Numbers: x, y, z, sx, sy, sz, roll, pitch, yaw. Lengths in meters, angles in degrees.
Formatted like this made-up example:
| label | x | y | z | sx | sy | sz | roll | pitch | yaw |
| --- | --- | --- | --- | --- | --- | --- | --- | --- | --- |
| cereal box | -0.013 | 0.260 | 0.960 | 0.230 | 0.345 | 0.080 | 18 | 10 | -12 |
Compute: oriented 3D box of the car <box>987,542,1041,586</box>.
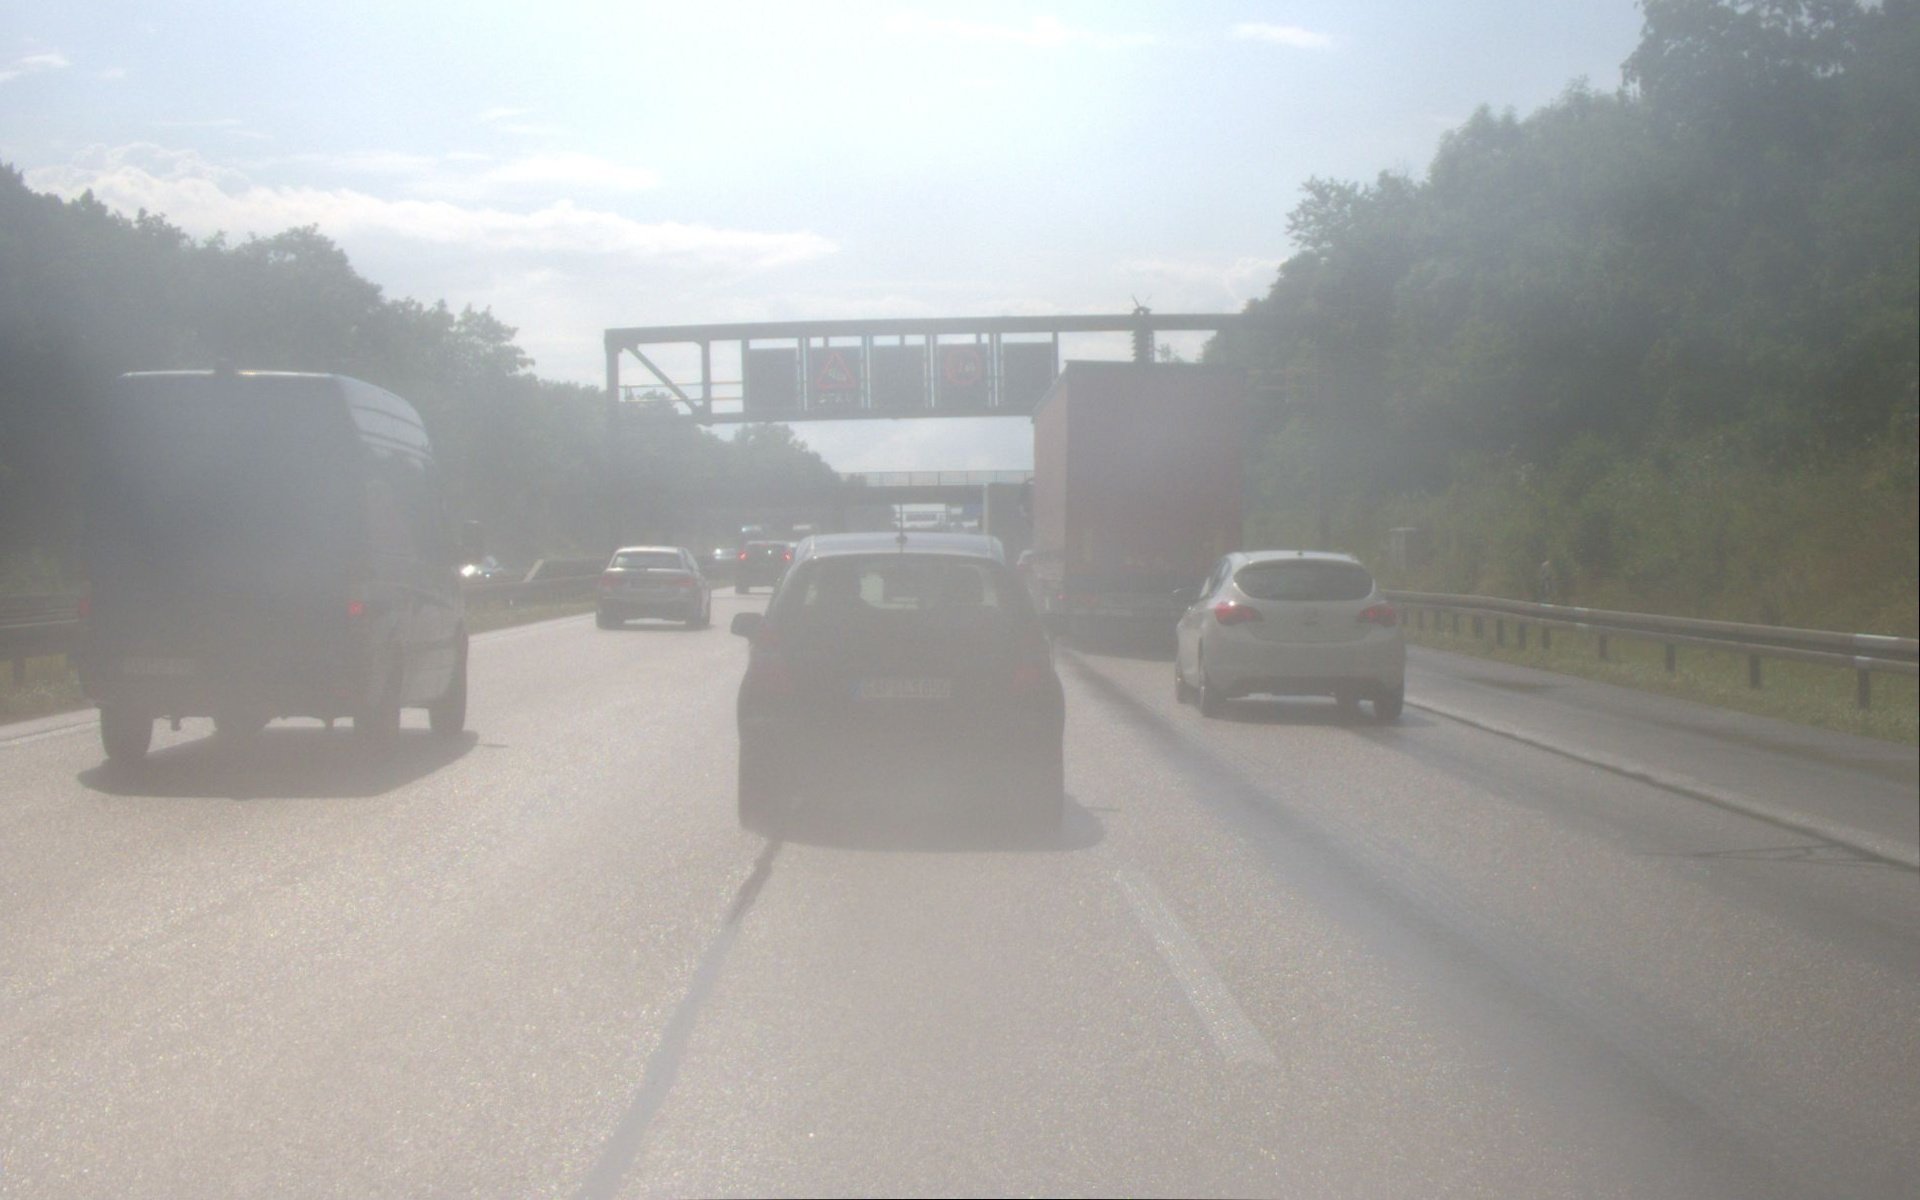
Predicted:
| label | x | y | z | sx | sy | sz | roll | pitch | yaw |
| --- | --- | --- | --- | --- | --- | --- | --- | --- | --- |
| car | 1.732 | -1.184 | 111.383 | 1.552 | 1.378 | 3.210 | 1 | 1 | -2 |

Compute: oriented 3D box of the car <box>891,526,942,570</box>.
| label | x | y | z | sx | sy | sz | roll | pitch | yaw |
| --- | --- | --- | --- | --- | --- | --- | --- | --- | --- |
| car | -1.431 | -1.709 | 112.845 | 1.552 | 1.378 | 3.210 | 1 | 1 | -2 |

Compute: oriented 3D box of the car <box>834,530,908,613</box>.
| label | x | y | z | sx | sy | sz | roll | pitch | yaw |
| --- | --- | --- | --- | --- | --- | --- | --- | --- | --- |
| car | -1.961 | -0.636 | 74.966 | 1.531 | 1.740 | 3.485 | 1 | 1 | -2 |

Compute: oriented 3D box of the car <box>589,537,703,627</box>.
| label | x | y | z | sx | sy | sz | roll | pitch | yaw |
| --- | --- | --- | --- | --- | --- | --- | --- | --- | --- |
| car | -5.634 | -0.344 | 62.004 | 1.854 | 1.546 | 3.485 | 1 | 1 | -2 |

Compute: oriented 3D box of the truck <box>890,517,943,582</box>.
| label | x | y | z | sx | sy | sz | roll | pitch | yaw |
| --- | --- | --- | --- | --- | --- | --- | --- | --- | --- |
| truck | -1.985 | -2.262 | 154.780 | 2.192 | 2.865 | 4.850 | 1 | 1 | -2 |

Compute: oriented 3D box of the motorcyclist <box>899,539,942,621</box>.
| label | x | y | z | sx | sy | sz | roll | pitch | yaw |
| --- | --- | --- | --- | --- | --- | --- | --- | --- | --- |
| motorcyclist | -0.793 | -0.398 | 69.164 | 0.801 | 1.627 | 1.013 | 1 | 1 | -2 |

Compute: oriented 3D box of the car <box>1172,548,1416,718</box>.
| label | x | y | z | sx | sy | sz | roll | pitch | yaw |
| --- | --- | --- | --- | --- | --- | --- | --- | --- | --- |
| car | 2.997 | 0.258 | 31.556 | 1.680 | 1.437 | 3.905 | 1 | 1 | -2 |

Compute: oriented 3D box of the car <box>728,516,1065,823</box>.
| label | x | y | z | sx | sy | sz | roll | pitch | yaw |
| --- | --- | --- | --- | --- | --- | --- | --- | --- | --- |
| car | -0.398 | 0.337 | 19.498 | 1.717 | 1.562 | 3.485 | 1 | 1 | -2 |

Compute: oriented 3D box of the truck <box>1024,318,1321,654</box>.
| label | x | y | z | sx | sy | sz | roll | pitch | yaw |
| --- | --- | --- | --- | --- | --- | --- | --- | --- | --- |
| truck | 3.166 | -1.729 | 57.146 | 3.650 | 4.704 | 16.780 | 1 | 1 | -1 |

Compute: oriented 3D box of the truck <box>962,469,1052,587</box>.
| label | x | y | z | sx | sy | sz | roll | pitch | yaw |
| --- | --- | --- | --- | --- | --- | --- | --- | --- | --- |
| truck | 1.824 | -2.862 | 138.425 | 3.256 | 4.464 | 12.422 | 1 | 1 | -1 |

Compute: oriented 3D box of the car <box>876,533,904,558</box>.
| label | x | y | z | sx | sy | sz | roll | pitch | yaw |
| --- | --- | --- | --- | --- | --- | --- | --- | --- | --- |
| car | -4.991 | -3.919 | 245.947 | 1.993 | 1.728 | 4.000 | 0 | 1 | -1 |

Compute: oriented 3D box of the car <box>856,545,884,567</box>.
| label | x | y | z | sx | sy | sz | roll | pitch | yaw |
| --- | --- | --- | --- | --- | --- | --- | --- | --- | --- |
| car | -5.402 | -2.661 | 206.470 | 1.549 | 1.262 | 3.485 | 1 | 1 | -3 |

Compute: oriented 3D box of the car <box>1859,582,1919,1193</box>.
| label | x | y | z | sx | sy | sz | roll | pitch | yaw |
| --- | --- | --- | --- | --- | --- | --- | --- | --- | --- |
| car | 3.121 | 0.709 | 6.430 | 1.692 | 1.420 | 4.220 | 1 | 1 | -1 |

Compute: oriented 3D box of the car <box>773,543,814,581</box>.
| label | x | y | z | sx | sy | sz | roll | pitch | yaw |
| --- | --- | --- | --- | --- | --- | --- | --- | --- | --- |
| car | -6.216 | -1.416 | 128.586 | 1.460 | 1.389 | 3.312 | 1 | 1 | -2 |

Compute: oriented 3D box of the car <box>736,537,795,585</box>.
| label | x | y | z | sx | sy | sz | roll | pitch | yaw |
| --- | --- | --- | --- | --- | --- | --- | --- | --- | --- |
| car | -6.019 | -1.221 | 106.794 | 1.751 | 1.452 | 3.390 | 1 | 1 | -2 |

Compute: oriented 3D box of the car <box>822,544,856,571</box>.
| label | x | y | z | sx | sy | sz | roll | pitch | yaw |
| --- | --- | --- | --- | --- | --- | --- | --- | --- | --- |
| car | -5.889 | -2.073 | 167.010 | 1.549 | 1.262 | 3.485 | 1 | 1 | -3 |

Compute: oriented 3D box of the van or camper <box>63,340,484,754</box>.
| label | x | y | z | sx | sy | sz | roll | pitch | yaw |
| --- | --- | --- | --- | --- | --- | --- | --- | --- | --- |
| van or camper | -4.830 | -0.379 | 25.017 | 1.993 | 2.659 | 5.385 | 1 | 1 | -1 |
